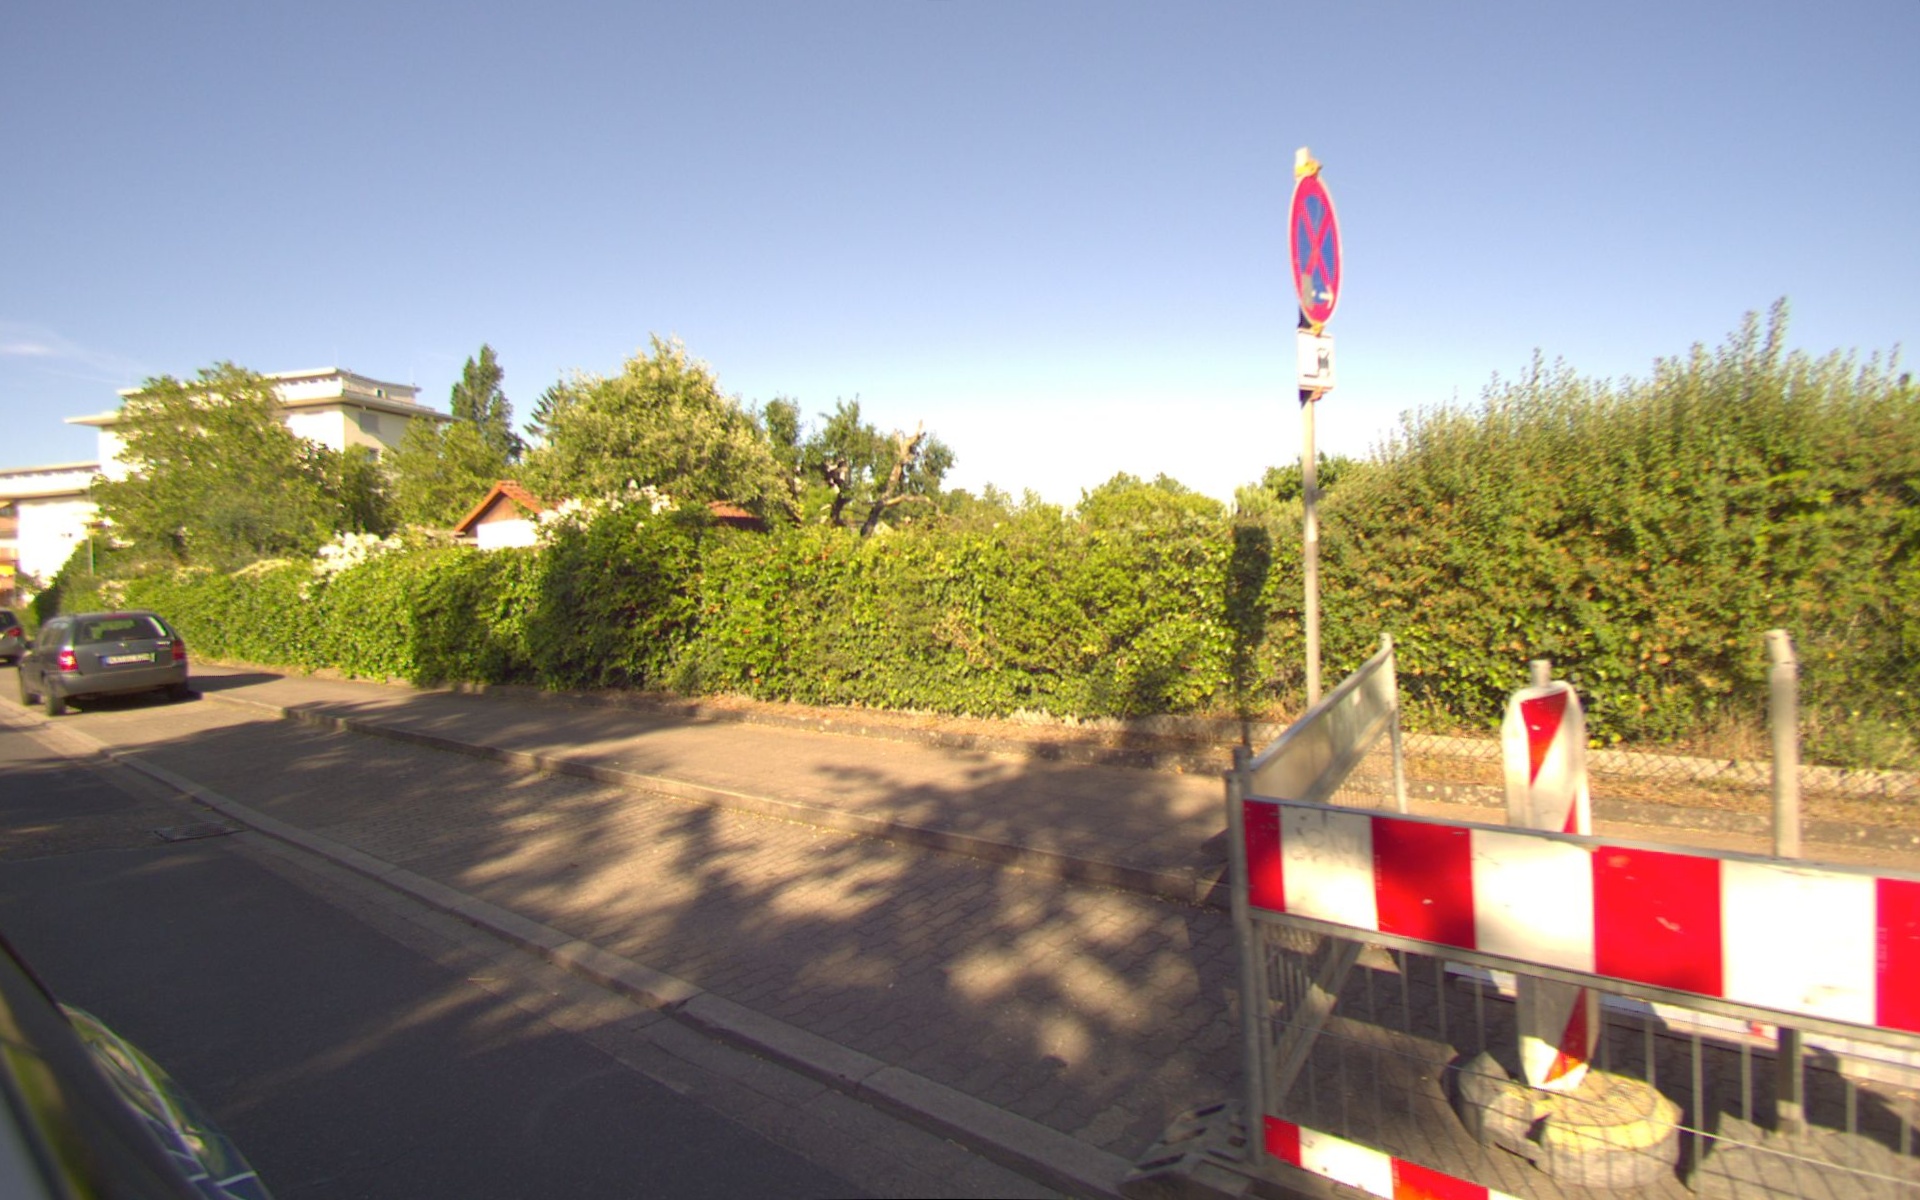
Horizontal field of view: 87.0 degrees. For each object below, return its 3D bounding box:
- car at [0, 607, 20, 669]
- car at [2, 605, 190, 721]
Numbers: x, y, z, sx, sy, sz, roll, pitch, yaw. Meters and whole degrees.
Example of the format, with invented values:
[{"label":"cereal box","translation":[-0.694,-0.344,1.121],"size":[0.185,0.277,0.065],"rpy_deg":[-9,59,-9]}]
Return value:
[{"label":"car","translation":[-27.118,1.065,27.742],"size":[4.311,1.611,1.626],"rpy_deg":[-1,2,43]},{"label":"car","translation":[-13.782,0.901,16.056],"size":[4.415,1.568,1.626],"rpy_deg":[-1,0,41]}]
